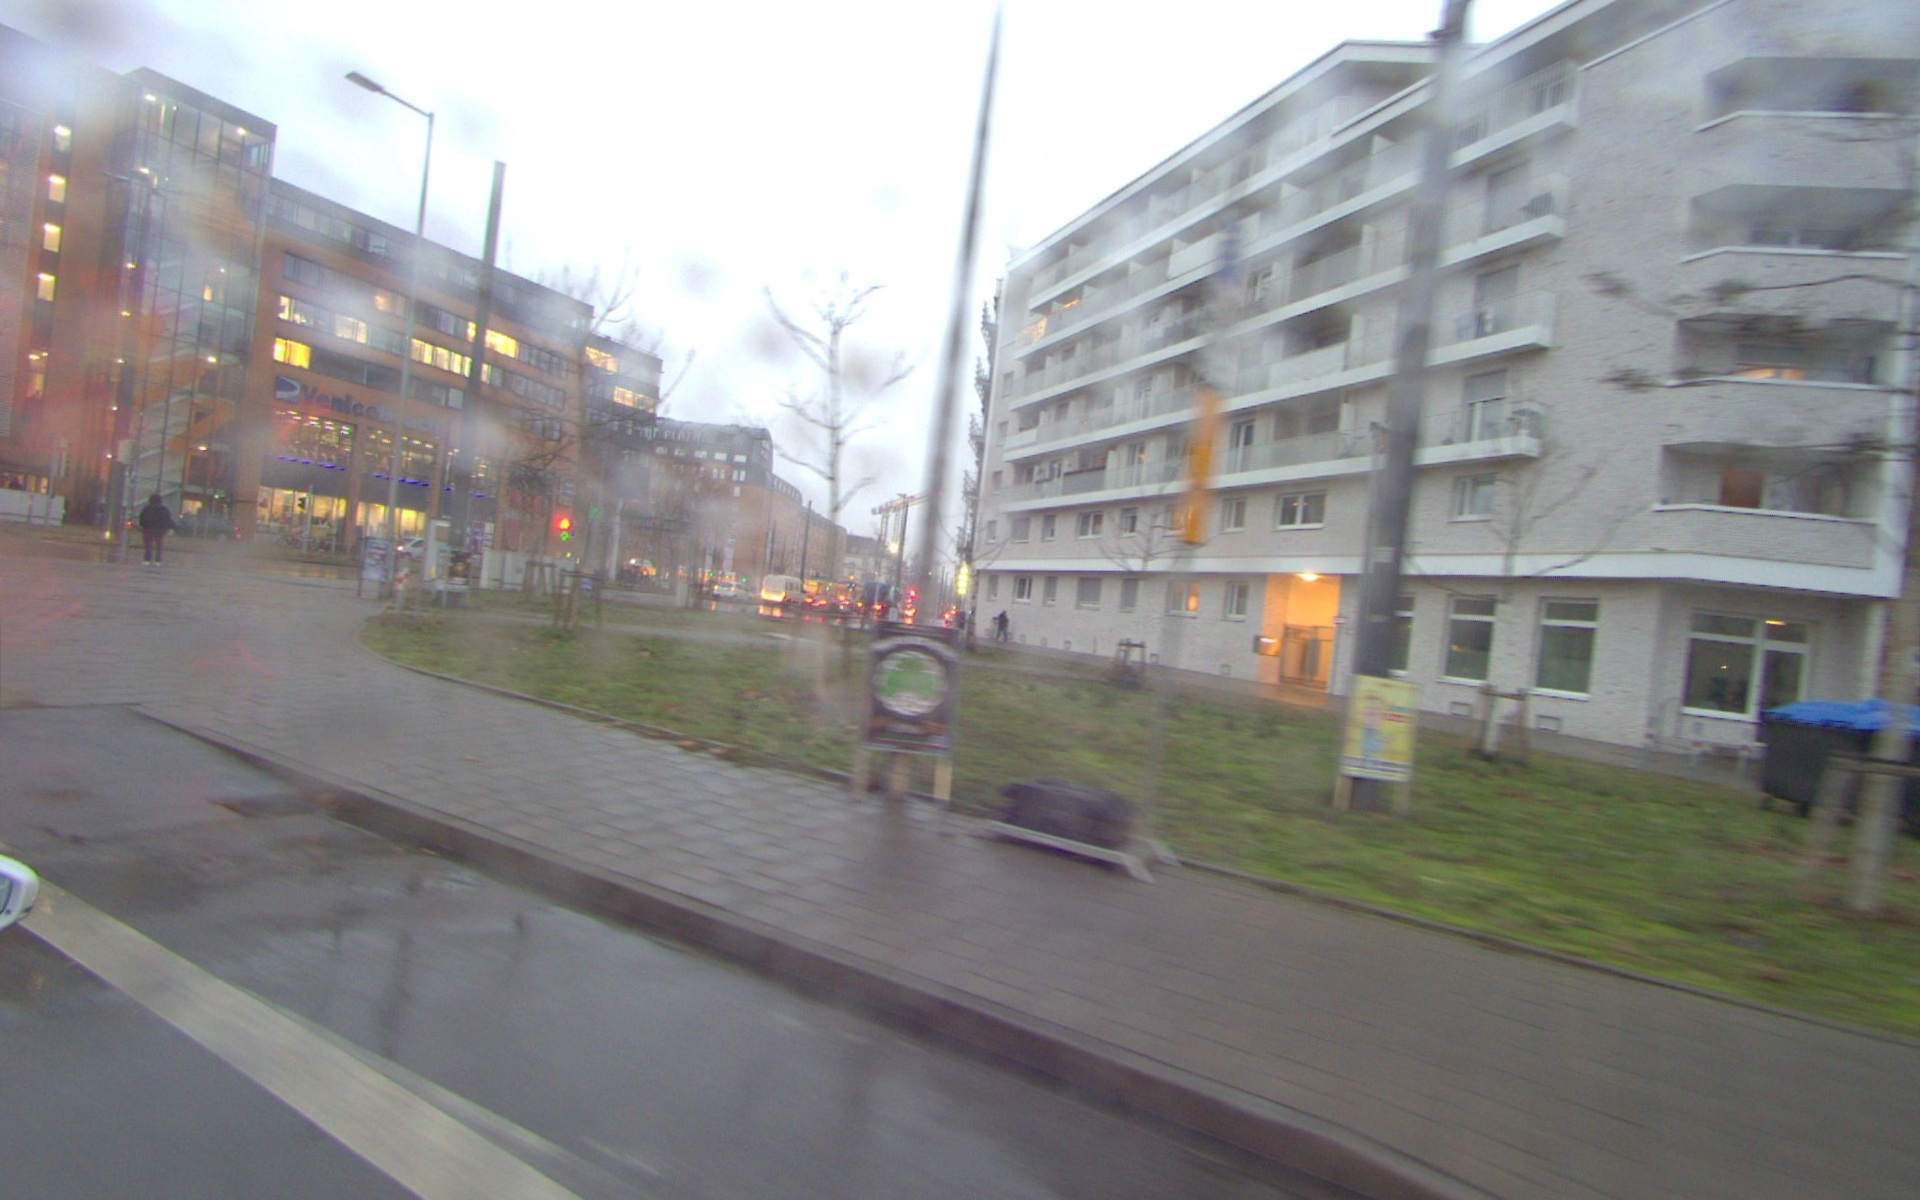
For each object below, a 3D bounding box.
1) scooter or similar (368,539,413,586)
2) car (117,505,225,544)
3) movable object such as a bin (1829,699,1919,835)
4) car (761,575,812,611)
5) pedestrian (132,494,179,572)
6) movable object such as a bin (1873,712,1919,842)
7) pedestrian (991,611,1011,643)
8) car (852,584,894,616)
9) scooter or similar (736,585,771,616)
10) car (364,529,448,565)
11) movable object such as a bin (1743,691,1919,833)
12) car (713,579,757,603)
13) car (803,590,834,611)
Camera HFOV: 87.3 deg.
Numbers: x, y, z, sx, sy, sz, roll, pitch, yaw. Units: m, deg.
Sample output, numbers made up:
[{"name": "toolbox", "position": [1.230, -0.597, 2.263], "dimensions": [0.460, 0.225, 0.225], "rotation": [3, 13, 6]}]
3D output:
[{"name": "scooter or similar", "position": [-16.353, -1.057, 28.906], "dimensions": [0.327, 1.221, 1.309], "rotation": [7, 0, 5]}, {"name": "car", "position": [-43.247, -4.096, 55.249], "dimensions": [1.599, 1.462, 4.424], "rotation": [7, -1, 19]}, {"name": "movable object such as a bin", "position": [12.473, 2.199, 13.194], "dimensions": [1.038, 1.595, 1.136], "rotation": [7, 0, -18]}, {"name": "car", "position": [-14.371, -0.548, 83.863], "dimensions": [1.962, 2.456, 5.978], "rotation": [7, -1, 11]}, {"name": "pedestrian", "position": [-21.014, -1.747, 26.286], "dimensions": [0.768, 1.901, 0.629], "rotation": [6, 1, -35]}, {"name": "movable object such as a bin", "position": [11.712, 2.143, 11.646], "dimensions": [1.038, 1.450, 1.220], "rotation": [7, 0, -18]}, {"name": "pedestrian", "position": [2.205, 1.447, 53.754], "dimensions": [0.622, 1.652, 0.720], "rotation": [7, 1, 31]}, {"name": "car", "position": [-9.147, 0.068, 106.785], "dimensions": [2.317, 2.861, 6.364], "rotation": [7, -1, 13]}, {"name": "scooter or similar", "position": [-9.774, 0.039, 47.706], "dimensions": [0.658, 1.241, 1.556], "rotation": [6, -2, 27]}, {"name": "car", "position": [-37.376, -3.567, 67.993], "dimensions": [1.896, 1.740, 4.605], "rotation": [7, -1, 28]}, {"name": "movable object such as a bin", "position": [11.097, 2.036, 12.839], "dimensions": [1.038, 1.529, 1.248], "rotation": [7, 0, -18]}, {"name": "car", "position": [-16.804, -0.658, 75.382], "dimensions": [1.613, 1.514, 3.686], "rotation": [7, 0, 14]}, {"name": "car", "position": [-12.699, 0.062, 90.538], "dimensions": [1.494, 1.538, 3.474], "rotation": [7, -1, 12]}]
